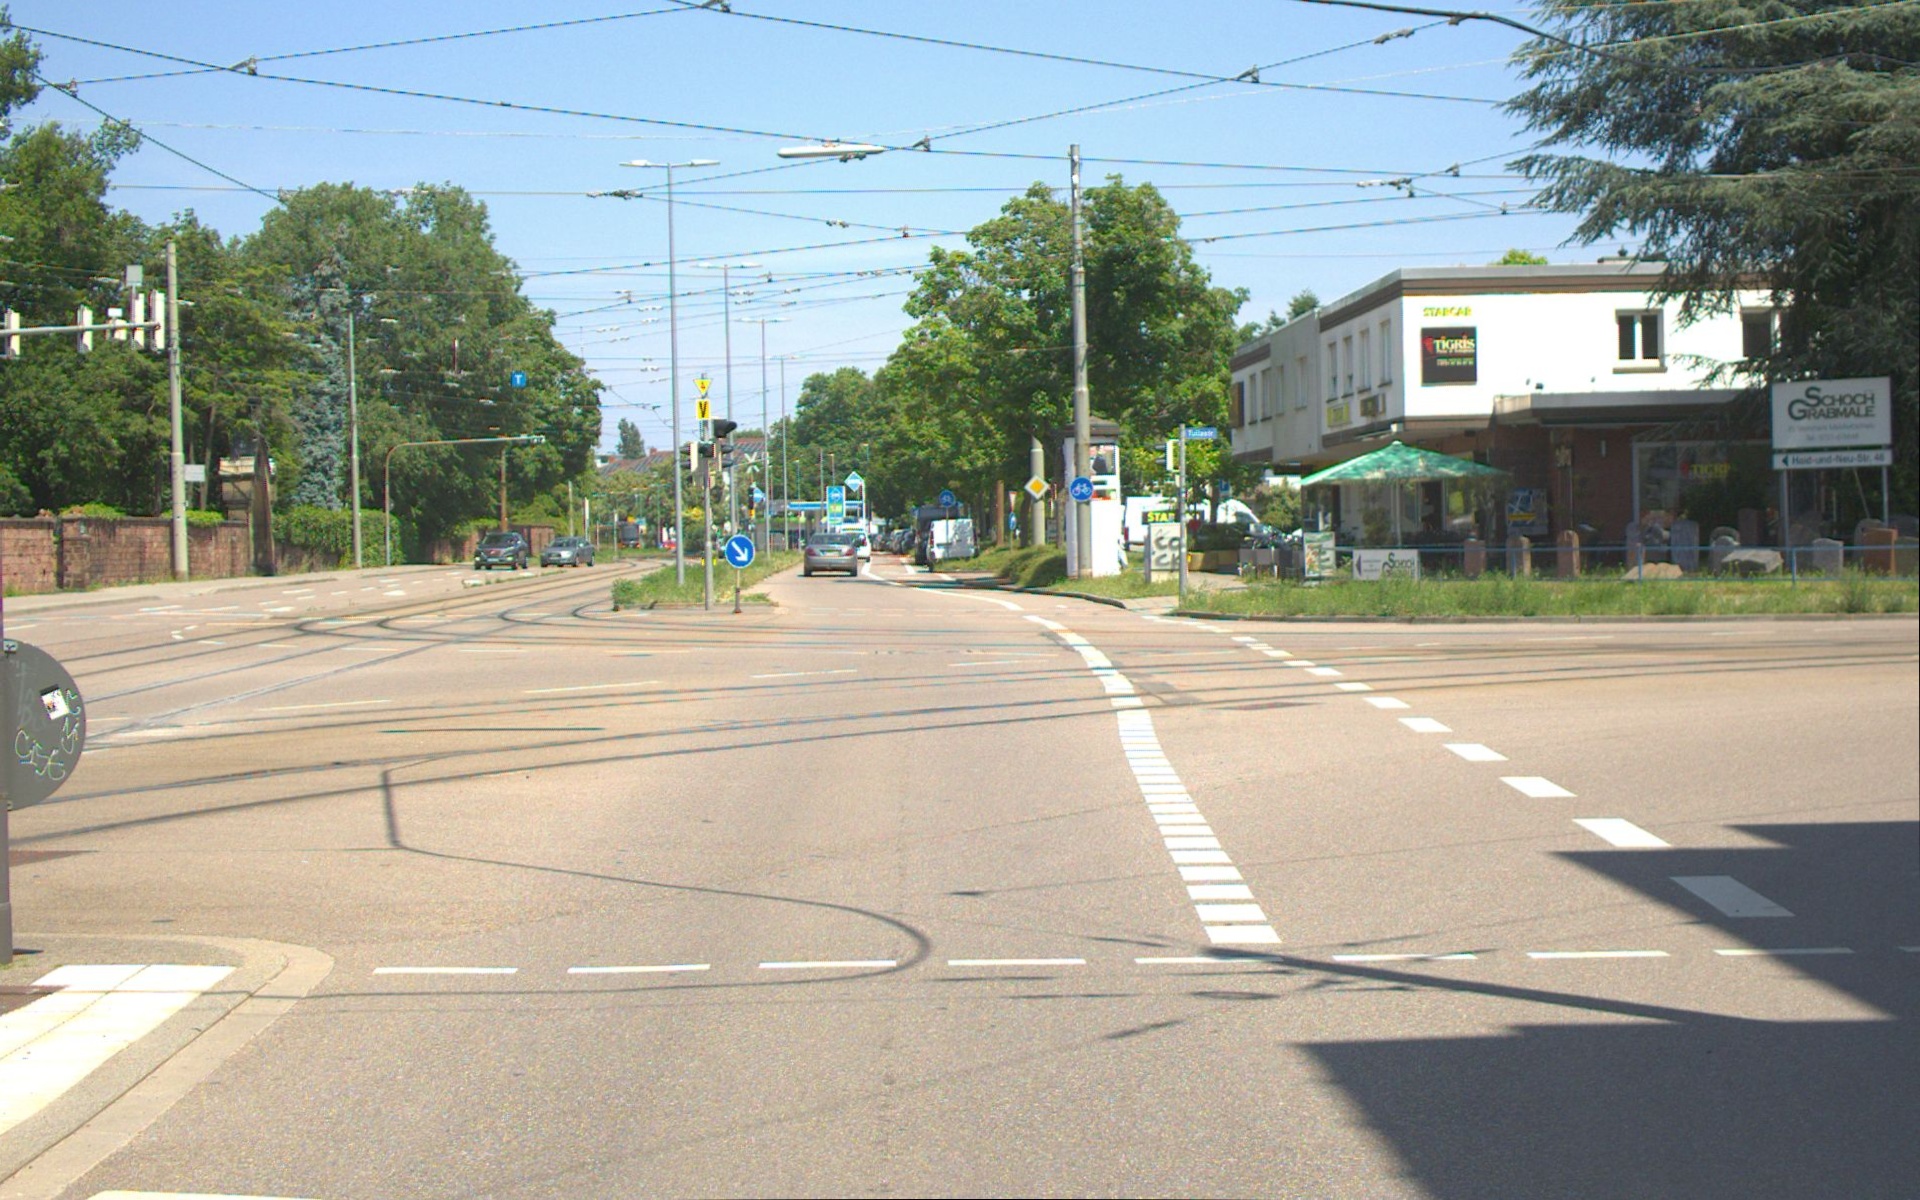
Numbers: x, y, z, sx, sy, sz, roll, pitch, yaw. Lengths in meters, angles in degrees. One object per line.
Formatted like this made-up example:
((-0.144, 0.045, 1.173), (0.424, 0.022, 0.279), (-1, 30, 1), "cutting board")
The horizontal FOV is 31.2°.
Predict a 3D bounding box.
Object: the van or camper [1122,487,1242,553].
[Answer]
((9.257, -3.327, 143.384), (4.756, 2.662, 2.136), (-1, 1, -3), "van or camper")

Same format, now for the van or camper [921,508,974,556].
((-0.493, -2.597, 130.365), (1.922, 1.766, 4.000), (-1, 1, -1), "van or camper")

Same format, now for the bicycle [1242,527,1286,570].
((7.477, -1.280, 84.495), (1.034, 1.011, 2.636), (-1, 1, 6), "bicycle")

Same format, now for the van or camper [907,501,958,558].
((-1.251, -3.140, 152.830), (1.993, 2.456, 4.001), (-1, 1, -4), "van or camper")

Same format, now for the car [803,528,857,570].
((-4.326, -1.697, 113.986), (1.636, 1.346, 3.842), (-1, 1, -4), "car")

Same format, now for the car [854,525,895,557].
((-3.957, -2.721, 158.924), (1.670, 1.430, 3.474), (-1, 1, 2), "car")

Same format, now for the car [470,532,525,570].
((-20.459, -2.169, 152.109), (1.820, 1.598, 4.520), (-1, 1, 0), "car")
